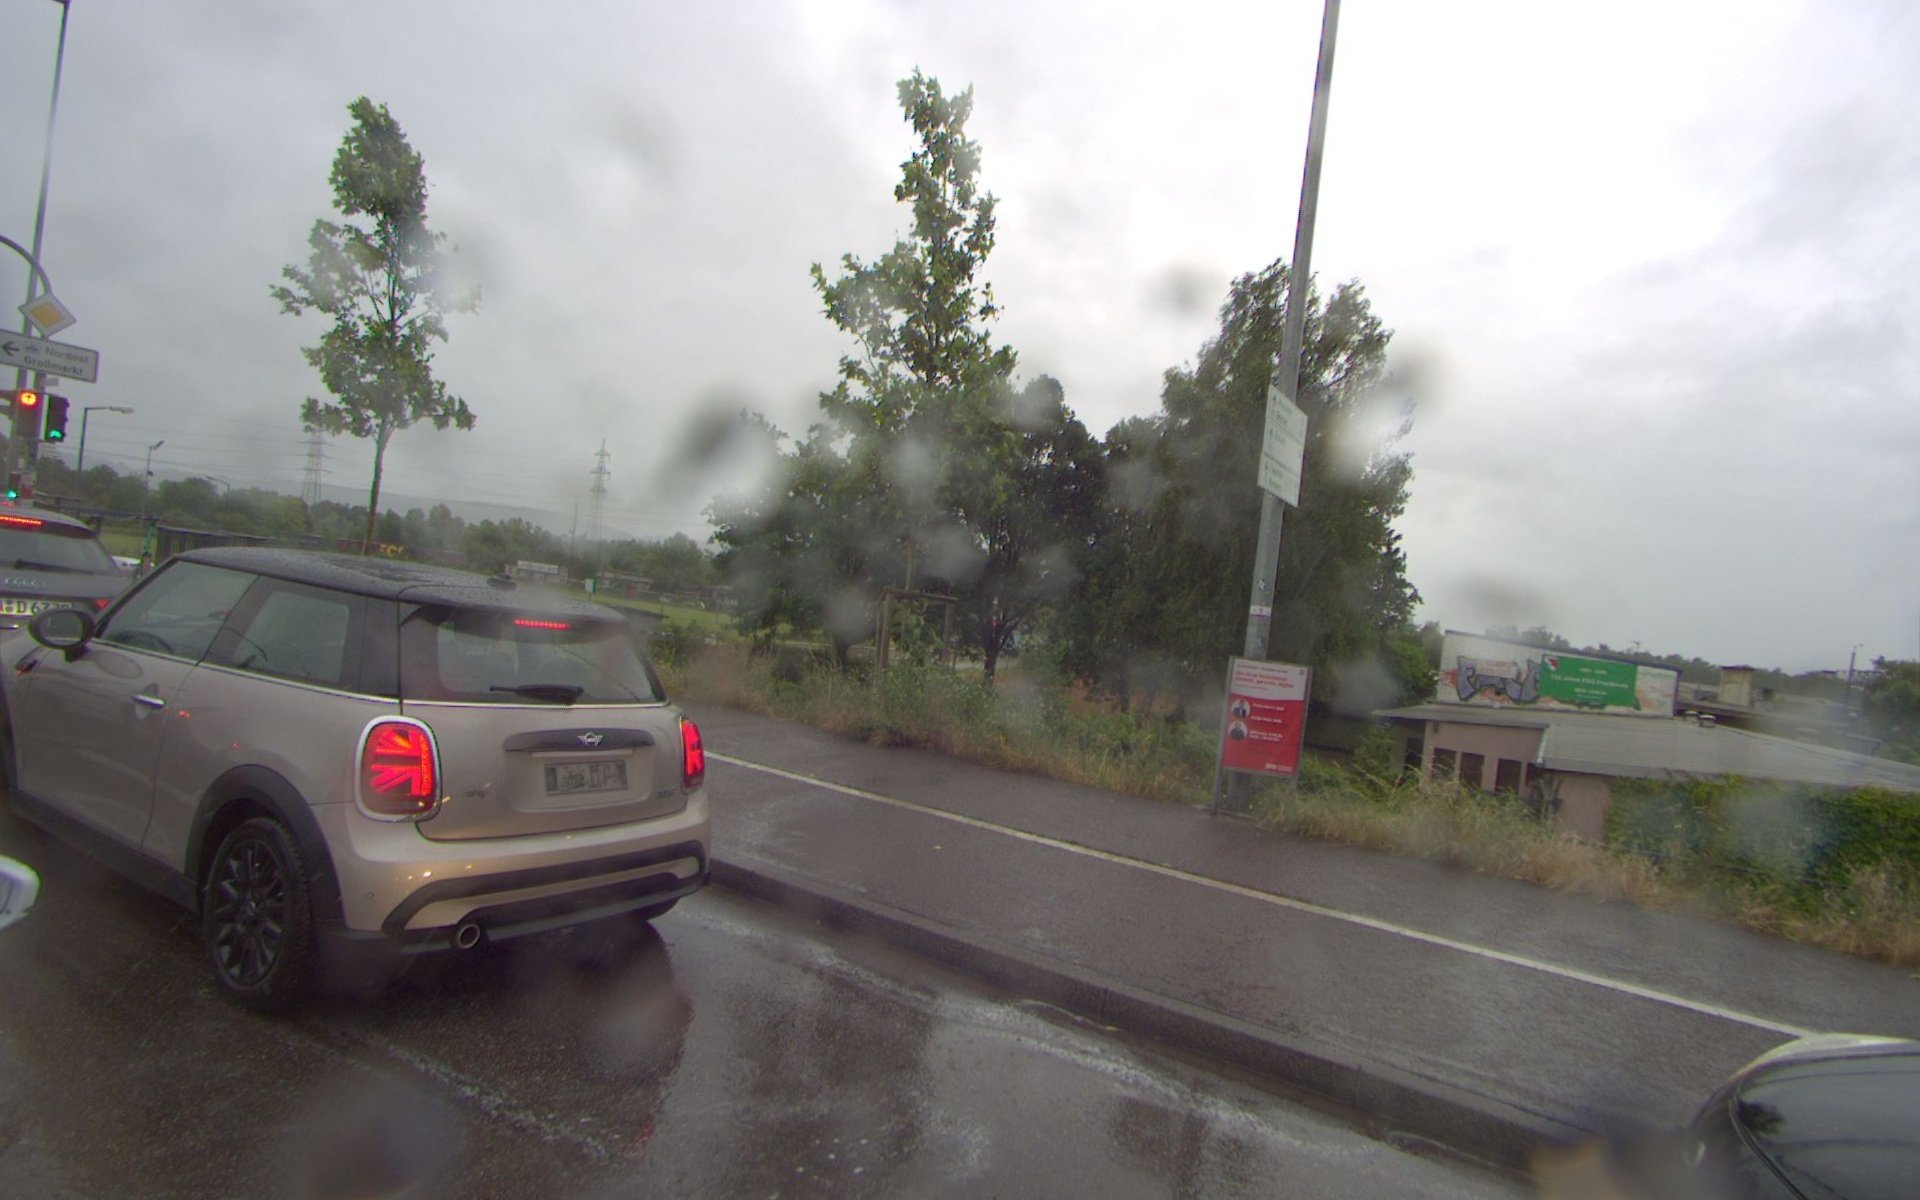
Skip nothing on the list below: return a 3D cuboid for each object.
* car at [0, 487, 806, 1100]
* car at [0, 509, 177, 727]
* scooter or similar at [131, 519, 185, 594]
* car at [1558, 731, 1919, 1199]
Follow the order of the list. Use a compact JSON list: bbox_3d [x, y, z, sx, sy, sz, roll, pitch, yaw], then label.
[{"bbox_3d":[-2.684,0.490,4.359,3.563,1.525,1.717,7,-2,31],"label":"car"},{"bbox_3d":[-7.490,-0.043,7.243,3.563,1.360,1.632,6,-2,31],"label":"car"},{"bbox_3d":[-13.551,-0.747,16.998,1.167,1.171,0.246,6,-1,33],"label":"scooter or similar"},{"bbox_3d":[2.785,1.178,1.069,3.563,1.445,1.632,7,-1,31],"label":"car"}]
